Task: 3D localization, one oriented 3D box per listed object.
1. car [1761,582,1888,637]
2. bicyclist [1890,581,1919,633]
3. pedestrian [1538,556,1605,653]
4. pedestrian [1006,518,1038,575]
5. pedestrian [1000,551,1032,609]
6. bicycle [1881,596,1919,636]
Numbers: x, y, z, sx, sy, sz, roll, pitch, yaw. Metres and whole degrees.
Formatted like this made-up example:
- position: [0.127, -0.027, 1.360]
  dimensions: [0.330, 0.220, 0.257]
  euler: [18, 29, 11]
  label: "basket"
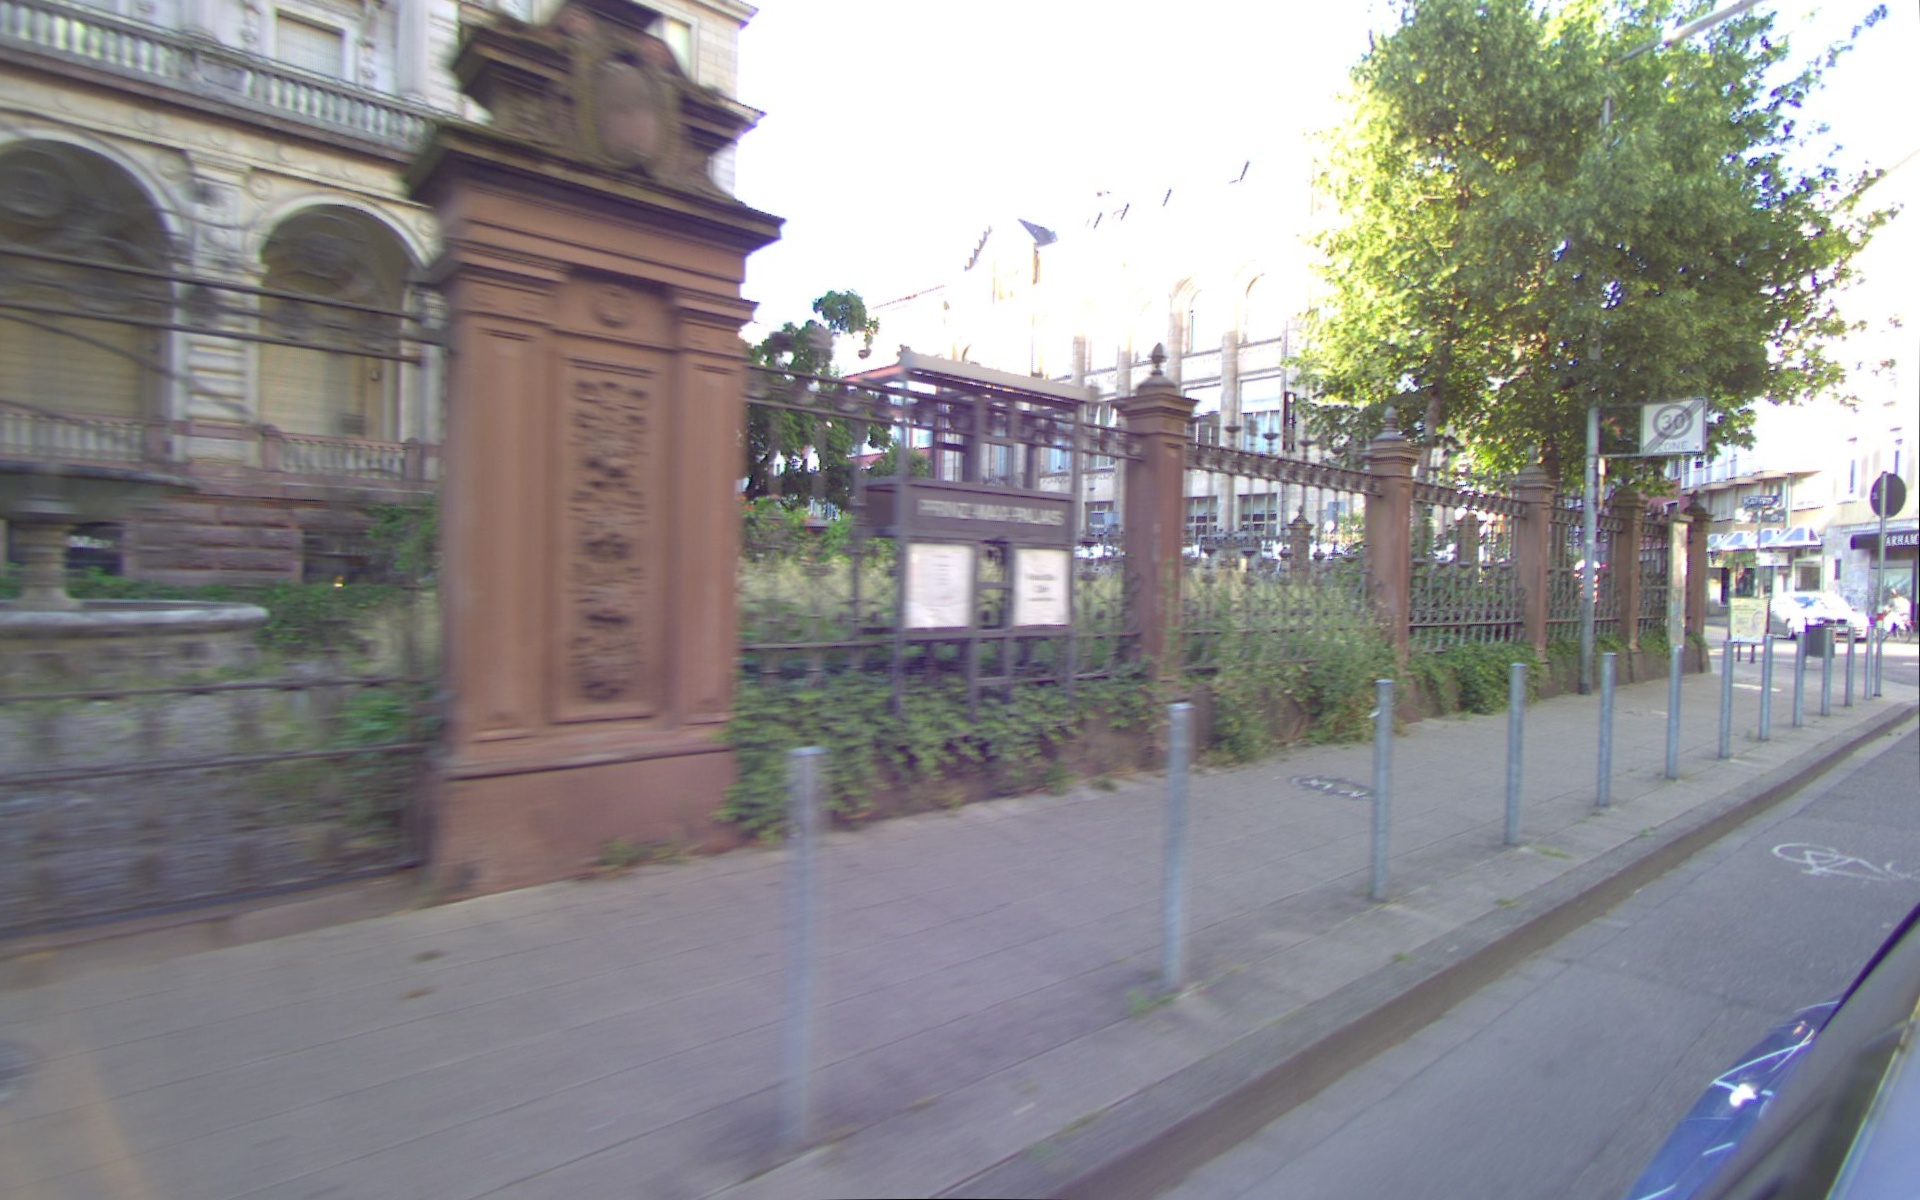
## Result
- position: [24.967, 0.209, 29.403]
  dimensions: [1.983, 1.439, 4.412]
  euler: [2, 2, 30]
  label: "car"
- position: [29.879, 0.198, 31.766]
  dimensions: [0.651, 1.590, 0.860]
  euler: [1, 2, 14]
  label: "bicyclist"
- position: [11.283, 0.077, 18.703]
  dimensions: [0.625, 1.744, 0.846]
  euler: [1, 1, -6]
  label: "pedestrian"
- position: [1.877, -1.631, 30.834]
  dimensions: [0.701, 1.691, 0.634]
  euler: [2, 0, 36]
  label: "pedestrian"
- position: [1.659, -0.582, 29.998]
  dimensions: [0.701, 1.691, 0.634]
  euler: [2, 0, 36]
  label: "pedestrian"
- position: [29.874, 0.498, 31.764]
  dimensions: [0.656, 1.152, 1.814]
  euler: [1, 2, 15]
  label: "bicycle"
